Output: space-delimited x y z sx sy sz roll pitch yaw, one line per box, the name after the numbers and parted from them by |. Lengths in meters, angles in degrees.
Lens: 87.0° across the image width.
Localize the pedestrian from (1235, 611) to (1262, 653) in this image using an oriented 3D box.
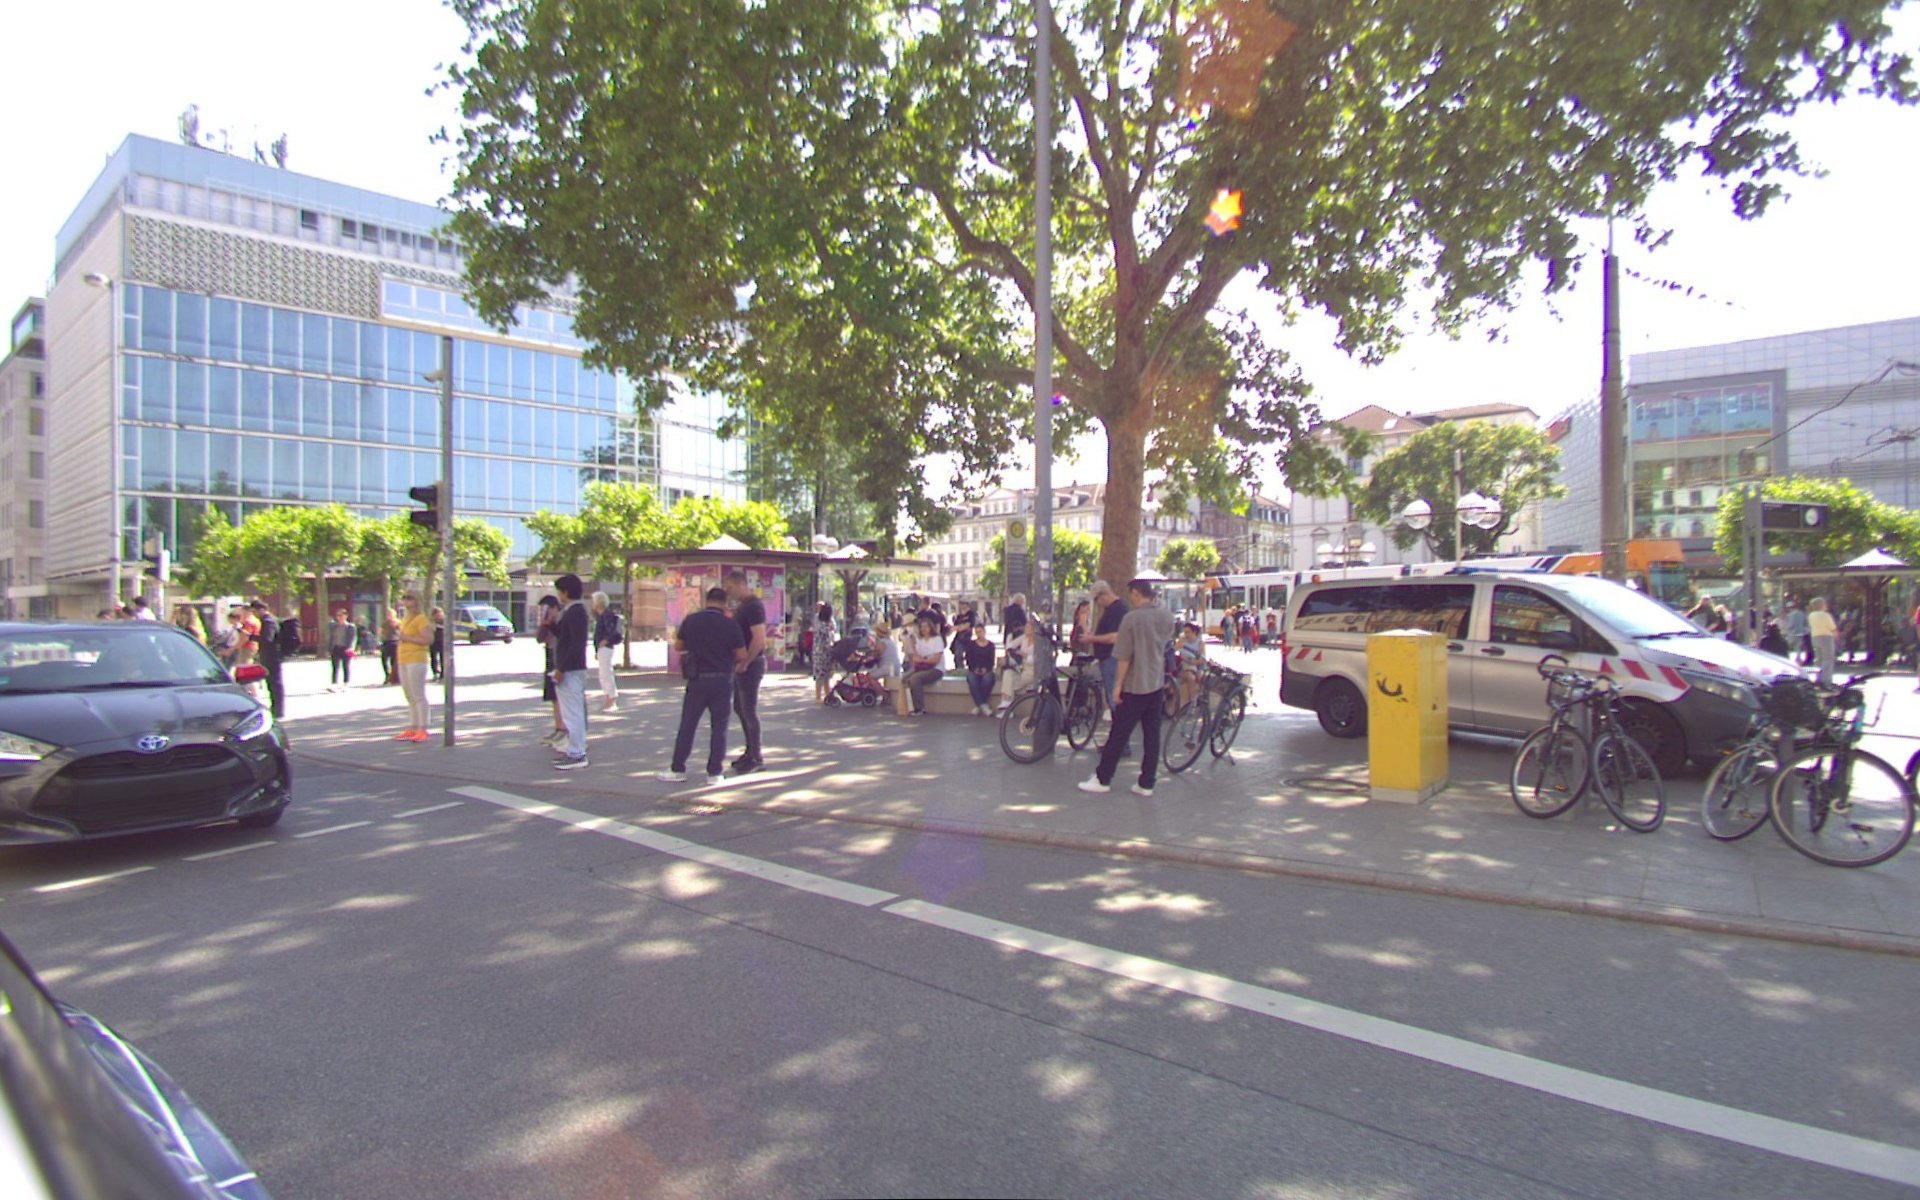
10.474 1.160 36.723 0.547 1.483 0.758 -2 1 -43 | pedestrian

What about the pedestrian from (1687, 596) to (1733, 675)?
15.201 0.719 20.513 0.657 1.561 0.566 -2 -4 42 | pedestrian

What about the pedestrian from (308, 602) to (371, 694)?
-12.449 0.946 20.313 0.881 1.760 0.715 -1 1 30 | pedestrian

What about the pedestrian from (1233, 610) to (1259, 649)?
11.144 1.139 39.454 0.547 1.483 0.758 -2 1 -43 | pedestrian

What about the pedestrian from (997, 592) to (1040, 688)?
1.106 0.748 19.098 0.611 1.760 0.532 -1 1 30 | pedestrian

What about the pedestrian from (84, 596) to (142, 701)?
-16.053 0.896 19.180 0.859 1.934 0.631 -1 1 38 | pedestrian

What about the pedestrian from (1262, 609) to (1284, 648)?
12.384 1.120 40.008 0.555 1.483 0.748 -1 1 39 | pedestrian

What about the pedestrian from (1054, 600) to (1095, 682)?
2.235 0.789 19.722 0.605 1.537 0.543 -1 1 30 | pedestrian

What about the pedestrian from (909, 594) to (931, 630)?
-1.977 0.584 49.923 0.779 1.760 0.744 -1 1 30 | pedestrian

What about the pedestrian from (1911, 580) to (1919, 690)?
16.114 0.570 16.512 0.568 1.791 0.682 2 -4 -29 | pedestrian

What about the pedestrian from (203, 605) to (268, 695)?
-14.700 0.990 20.540 0.732 1.760 0.866 -1 1 38 | pedestrian

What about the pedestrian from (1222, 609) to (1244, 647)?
10.925 1.127 40.535 0.555 1.483 0.748 -1 1 39 | pedestrian

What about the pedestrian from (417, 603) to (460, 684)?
-11.762 0.957 22.839 0.721 1.760 0.641 -2 1 -37 | pedestrian

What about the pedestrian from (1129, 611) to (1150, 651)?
6.802 1.181 38.379 0.547 1.483 0.532 -2 1 -43 | pedestrian

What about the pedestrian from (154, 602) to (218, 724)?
-11.386 0.902 14.888 0.651 1.726 0.568 -1 1 38 | pedestrian

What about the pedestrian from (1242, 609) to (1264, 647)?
11.650 1.112 40.234 0.555 1.483 0.748 -1 1 39 | pedestrian

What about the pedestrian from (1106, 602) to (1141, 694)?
3.048 0.884 18.839 0.470 1.681 0.498 -1 1 30 | pedestrian

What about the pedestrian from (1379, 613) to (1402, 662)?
13.047 1.132 30.702 0.547 1.484 0.456 3 -2 -43 | pedestrian

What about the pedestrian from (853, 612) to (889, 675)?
-2.221 1.077 25.241 0.772 1.518 0.751 -1 1 2 | pedestrian

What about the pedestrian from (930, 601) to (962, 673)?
-0.316 0.810 22.370 0.485 1.537 0.456 -2 1 -43 | pedestrian

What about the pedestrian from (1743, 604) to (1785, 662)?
22.204 0.920 27.948 0.568 1.561 0.683 2 -3 -24 | pedestrian

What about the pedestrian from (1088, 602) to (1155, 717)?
2.174 0.782 13.714 0.570 1.472 0.788 -2 1 -17 | pedestrian

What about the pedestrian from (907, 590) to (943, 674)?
-0.742 0.670 21.581 0.547 1.739 0.492 -2 1 -43 | pedestrian

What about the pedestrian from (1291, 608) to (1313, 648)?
13.211 1.077 39.113 0.555 1.483 0.748 -1 1 39 | pedestrian

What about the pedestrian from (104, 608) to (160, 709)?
-14.881 1.035 18.192 0.605 1.760 0.631 -1 1 38 | pedestrian

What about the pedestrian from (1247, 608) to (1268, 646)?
12.133 1.087 41.282 0.555 1.483 0.748 -1 1 39 | pedestrian

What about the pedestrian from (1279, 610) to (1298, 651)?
12.367 1.140 38.096 0.547 1.483 0.456 -2 1 -43 | pedestrian

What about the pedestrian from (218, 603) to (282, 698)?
-13.700 0.956 19.532 0.730 1.760 0.744 -1 1 30 | pedestrian

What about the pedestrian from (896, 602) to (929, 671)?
-1.057 0.799 22.365 0.449 1.483 0.556 -2 1 -42 | pedestrian

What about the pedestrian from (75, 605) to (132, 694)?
-17.644 1.004 20.863 0.721 1.760 0.642 -2 1 -26 | pedestrian

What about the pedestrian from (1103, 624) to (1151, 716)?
2.226 0.922 13.506 0.499 1.182 0.350 -2 1 -17 | pedestrian

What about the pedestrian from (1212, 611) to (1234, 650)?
10.225 1.173 39.327 0.555 1.483 0.748 -1 1 39 | pedestrian

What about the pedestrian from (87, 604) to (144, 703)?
-15.500 0.964 18.574 0.732 1.760 0.631 -1 1 38 | pedestrian

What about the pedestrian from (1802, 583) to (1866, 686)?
16.048 0.640 18.593 0.568 1.855 0.682 2 -4 -29 | pedestrian

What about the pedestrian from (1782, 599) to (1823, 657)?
23.158 0.771 27.833 0.572 1.561 0.677 0 -3 13 | pedestrian

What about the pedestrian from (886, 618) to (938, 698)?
-0.782 0.931 16.594 0.611 1.251 0.667 -1 1 22 | pedestrian

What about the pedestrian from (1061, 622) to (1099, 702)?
2.095 1.071 17.640 0.490 1.347 0.431 -1 1 30 | pedestrian

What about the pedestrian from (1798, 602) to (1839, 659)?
24.087 0.859 28.415 0.572 1.561 0.677 0 -3 13 | pedestrian

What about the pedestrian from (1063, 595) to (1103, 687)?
2.269 0.744 18.662 0.553 1.656 0.524 -1 1 30 | pedestrian

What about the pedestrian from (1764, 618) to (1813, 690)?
14.315 0.930 17.493 0.524 1.211 0.540 -1 -4 28 | pedestrian

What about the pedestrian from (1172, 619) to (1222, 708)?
3.376 0.889 14.420 0.493 1.215 0.461 -2 1 -17 | pedestrian

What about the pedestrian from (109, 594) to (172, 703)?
-13.672 0.789 16.878 0.732 1.760 0.631 -1 1 38 | pedestrian

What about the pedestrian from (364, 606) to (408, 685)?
-12.698 0.983 22.376 0.721 1.682 0.641 -2 1 -37 | pedestrian

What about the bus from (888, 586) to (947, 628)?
-3.082 0.399 77.202 2.362 2.811 12.157 -1 1 7 | bus
